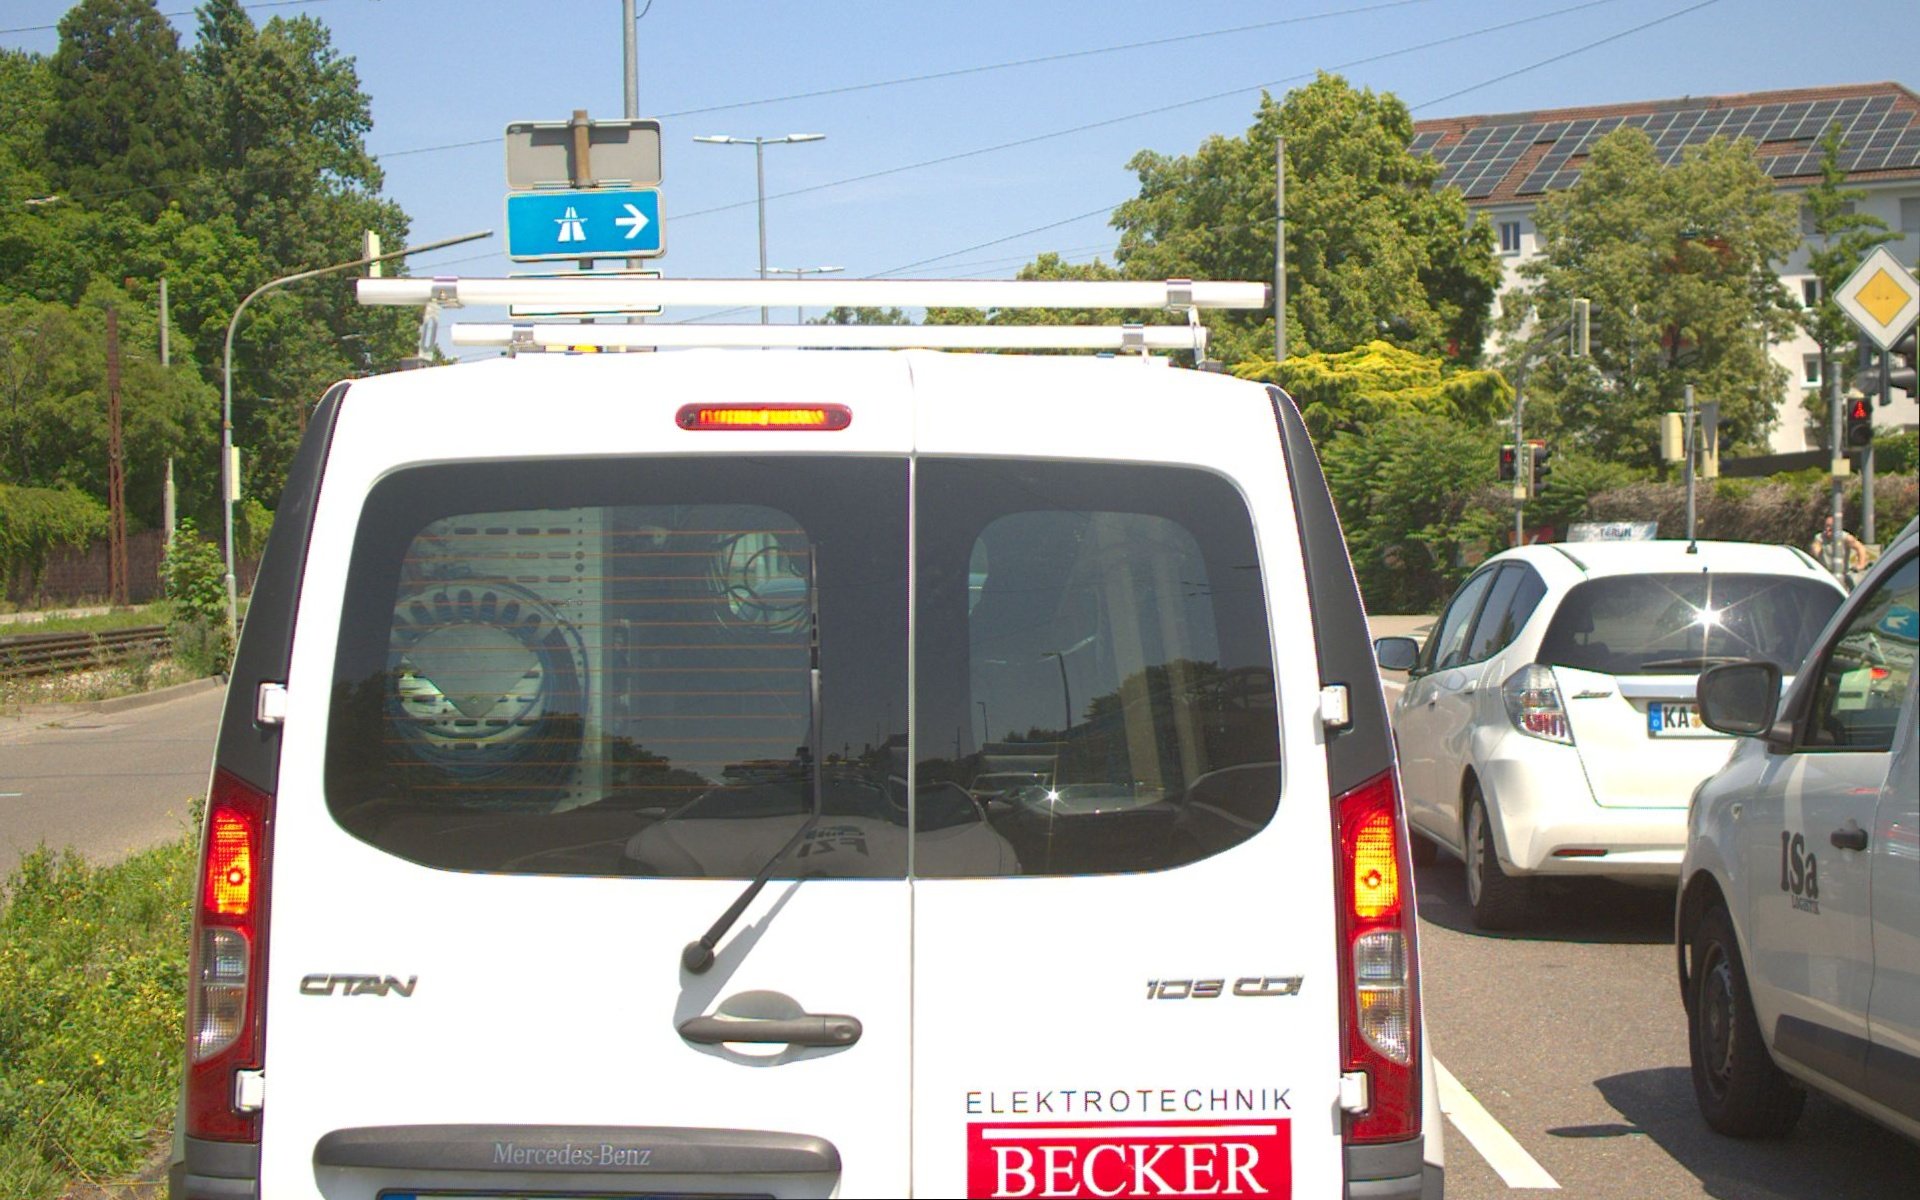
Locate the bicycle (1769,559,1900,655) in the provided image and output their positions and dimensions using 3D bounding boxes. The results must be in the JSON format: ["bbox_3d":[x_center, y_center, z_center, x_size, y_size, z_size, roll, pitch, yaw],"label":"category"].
[{"bbox_3d":[10.921,0.074,43.002,0.892,1.155,1.957,0,1,-9],"label":"bicycle"}]

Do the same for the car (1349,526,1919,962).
[{"bbox_3d":[2.836,0.489,14.634,1.835,1.563,4.000,1,1,-1],"label":"car"}]

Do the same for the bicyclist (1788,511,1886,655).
[{"bbox_3d":[10.958,-0.216,42.976,0.973,1.782,0.726,0,0,-9],"label":"bicyclist"}]

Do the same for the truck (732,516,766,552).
[{"bbox_3d":[-15.408,-4.822,251.043,2.139,2.579,5.890,1,1,-1],"label":"truck"}]

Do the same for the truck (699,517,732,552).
[{"bbox_3d":[-18.425,-4.949,259.474,2.139,2.579,5.890,1,1,-1],"label":"truck"}]

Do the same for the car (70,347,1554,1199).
[{"bbox_3d":[-0.208,0.527,6.430,1.821,1.734,4.396,0,1,-1],"label":"car"}]

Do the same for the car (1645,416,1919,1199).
[{"bbox_3d":[2.782,0.527,7.268,1.727,1.782,4.065,1,1,-2],"label":"car"}]
